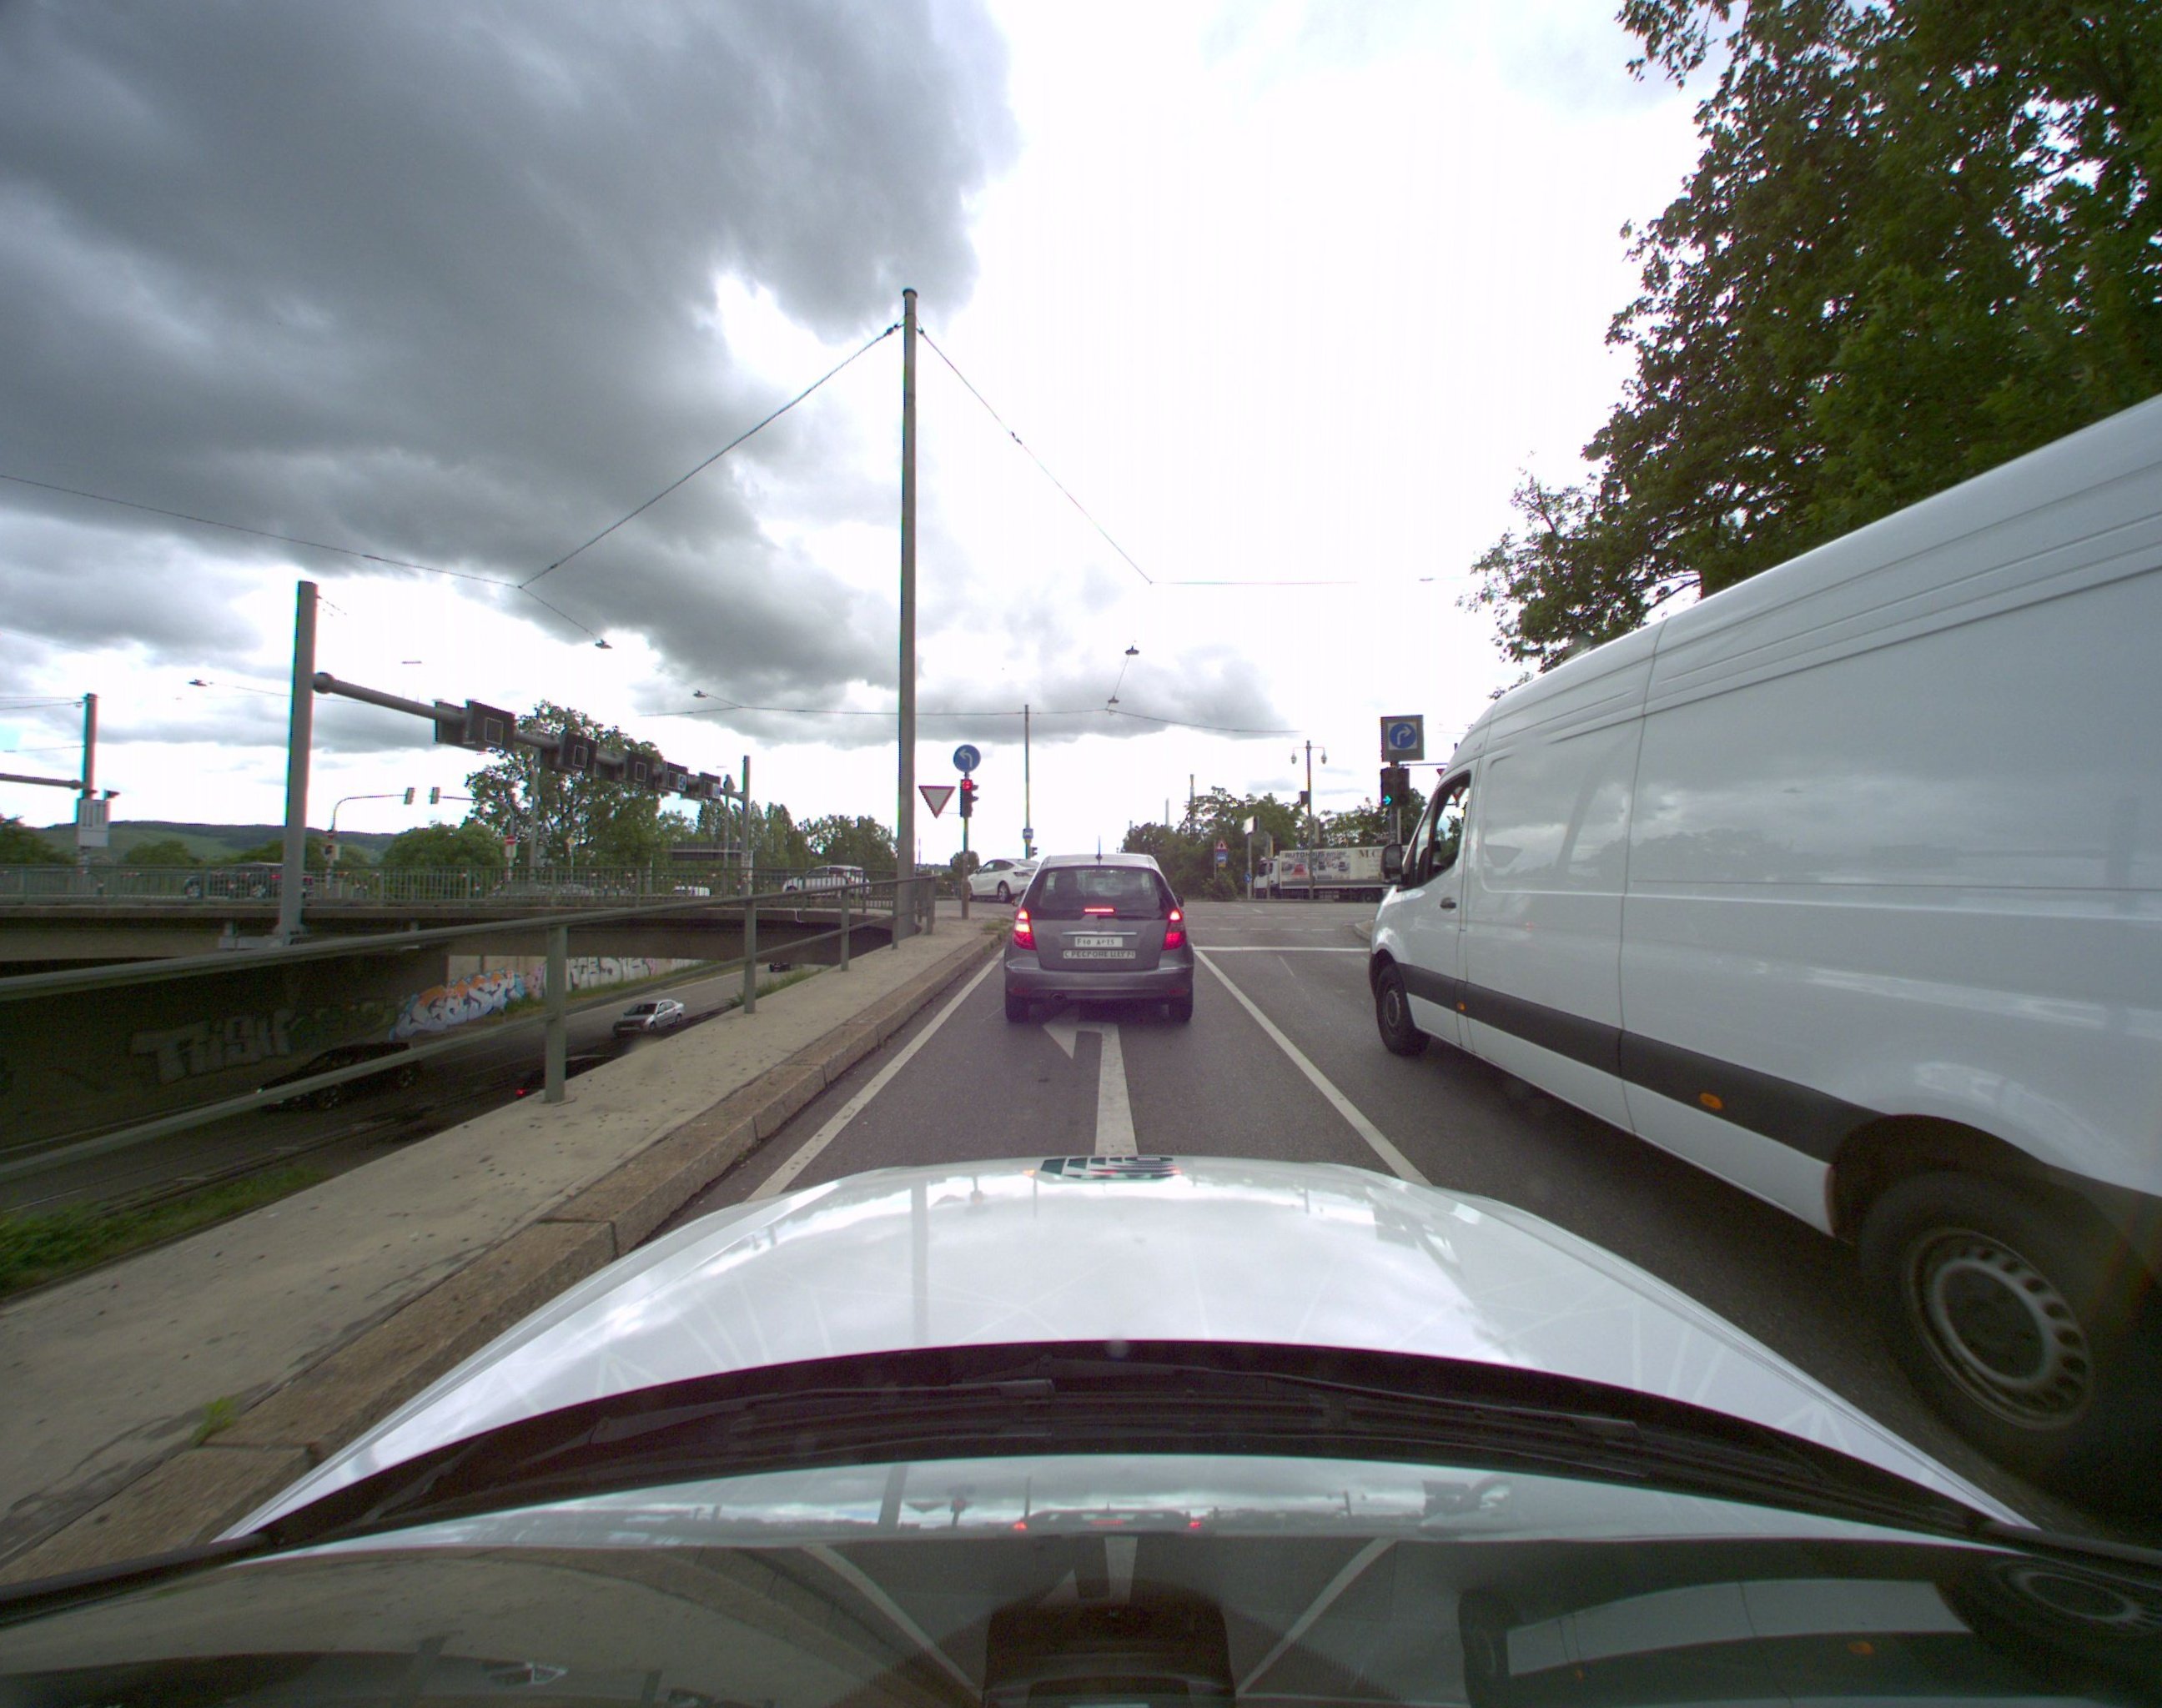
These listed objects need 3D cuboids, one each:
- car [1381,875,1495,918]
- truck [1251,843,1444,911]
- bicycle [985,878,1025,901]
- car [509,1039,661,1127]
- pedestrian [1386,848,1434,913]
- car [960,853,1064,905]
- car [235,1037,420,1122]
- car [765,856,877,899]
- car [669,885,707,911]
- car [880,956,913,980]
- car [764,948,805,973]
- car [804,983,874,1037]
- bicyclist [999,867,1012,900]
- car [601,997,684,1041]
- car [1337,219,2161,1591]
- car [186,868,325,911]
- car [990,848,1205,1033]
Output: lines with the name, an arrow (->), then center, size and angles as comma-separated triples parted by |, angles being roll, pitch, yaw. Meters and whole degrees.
car -> 14.791, 1.744, 33.884 | 3.969, 1.665, 1.815 | -1, 0, 4
truck -> 14.954, 1.231, 46.548 | 10.116, 3.518, 2.816 | -1, 0, 39
bicycle -> -3.995, 1.845, 42.928 | 2.032, 1.124, 0.926 | -1, 0, -10
car -> -15.127, 6.964, 25.176 | 1.832, 1.713, 4.283 | -2, -3, 4
pedestrian -> 8.790, 0.721, 21.808 | 0.830, 1.678, 0.978 | -1, -3, -1
car -> -2.616, 0.859, 29.886 | 1.945, 1.717, 4.360 | -1, 0, -33
car -> -25.131, 7.481, 27.449 | 1.909, 1.739, 4.552 | -2, -3, 1
car -> -10.820, 0.970, 33.997 | 3.959, 1.717, 1.944 | -1, 0, 13
car -> -36.406, 4.049, 75.476 | 1.850, 2.215, 3.659 | -1, 0, -3
car -> -14.638, 9.035, 64.706 | 1.550, 1.553, 3.685 | -1, -3, 3
car -> -26.453, 9.486, 72.902 | 1.924, 1.842, 4.410 | -1, -3, 1
car -> -11.730, 7.527, 39.820 | 1.944, 1.935, 4.893 | 0, -3, -1
bicyclist -> -3.987, 1.559, 42.943 | 0.653, 1.673, 0.867 | -1, 0, -9
car -> -21.492, 8.060, 40.106 | 1.722, 1.528, 4.087 | -1, -3, 2
car -> 3.282, 0.093, 3.832 | 2.103, 2.783, 6.781 | -1, 0, 1
car -> -35.539, 1.513, 35.131 | 3.974, 1.717, 1.937 | -1, 0, 0
car -> 0.277, 0.745, 9.068 | 1.849, 1.588, 4.004 | -1, 0, 4
